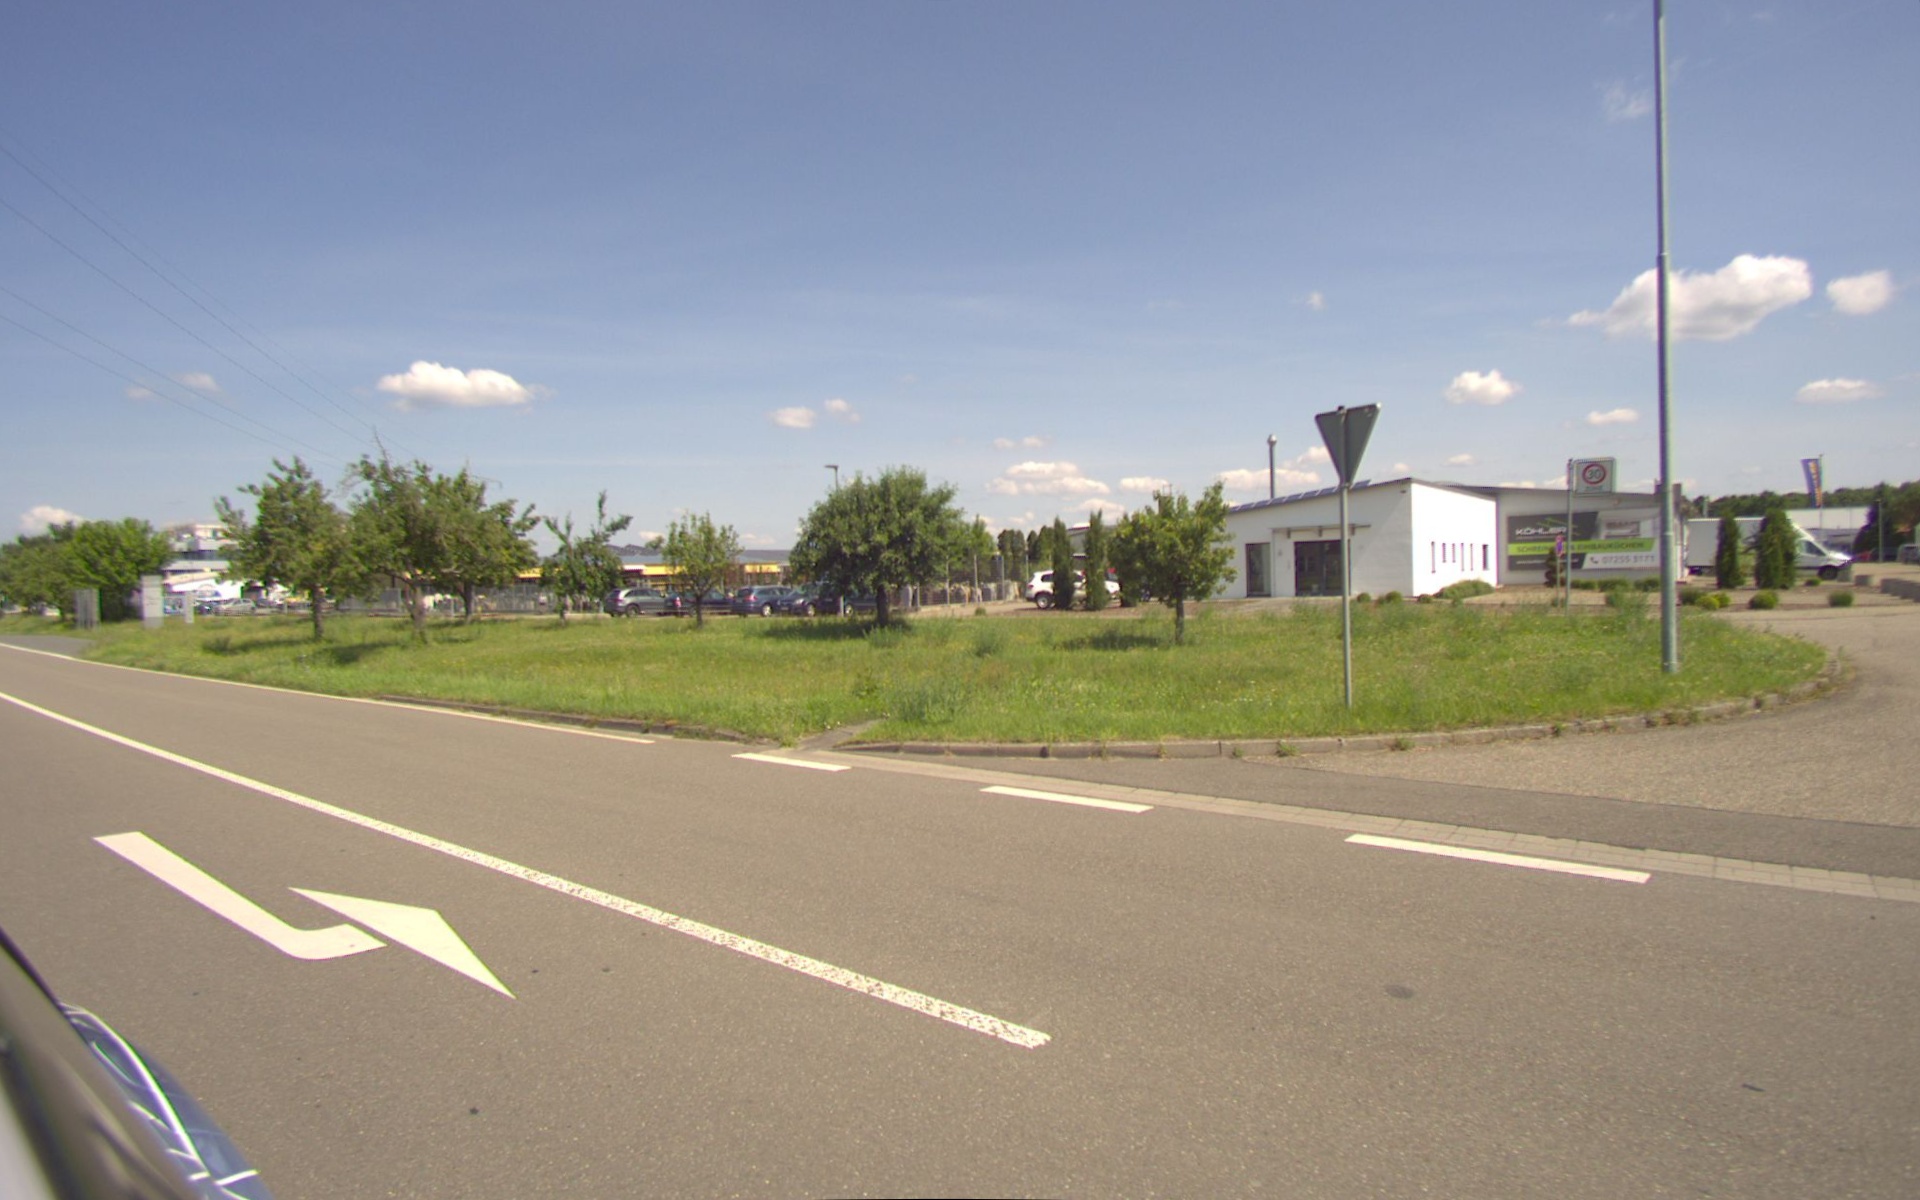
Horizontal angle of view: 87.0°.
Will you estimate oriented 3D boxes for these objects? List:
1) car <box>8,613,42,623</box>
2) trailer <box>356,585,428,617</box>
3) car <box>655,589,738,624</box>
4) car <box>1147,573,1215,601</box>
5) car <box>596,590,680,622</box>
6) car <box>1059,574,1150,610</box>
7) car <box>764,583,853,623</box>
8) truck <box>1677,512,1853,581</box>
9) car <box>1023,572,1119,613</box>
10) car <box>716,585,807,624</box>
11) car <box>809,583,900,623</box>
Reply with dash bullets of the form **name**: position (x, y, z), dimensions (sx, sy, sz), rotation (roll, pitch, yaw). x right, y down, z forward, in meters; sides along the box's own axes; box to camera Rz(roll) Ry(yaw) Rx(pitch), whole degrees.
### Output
- **car**: position (-152.142, 2.945, 164.669), dimensions (2.001, 1.530, 3.942), rotation (0, 2, 45)
- **trailer**: position (-56.121, 0.104, 100.134), dimensions (2.735, 2.846, 5.514), rotation (-1, 2, 35)
- **car**: position (-13.598, 0.322, 52.473), dimensions (1.663, 1.566, 3.951), rotation (-1, 2, 37)
- **car**: position (13.000, -0.785, 59.490), dimensions (2.001, 1.495, 4.110), rotation (-1, 2, 45)
- **car**: position (-17.745, 0.331, 55.854), dimensions (1.997, 1.539, 3.951), rotation (-1, 2, 37)
- **car**: position (6.828, -0.394, 48.018), dimensions (4.121, 1.540, 1.996), rotation (-2, 1, 8)
- **car**: position (-7.144, 0.122, 47.962), dimensions (1.855, 1.652, 3.951), rotation (-1, 2, 37)
- **truck**: position (42.575, -2.763, 53.810), dimensions (7.179, 3.237, 1.975), rotation (-1, 1, 37)
- **car**: position (4.983, -0.349, 45.286), dimensions (4.121, 1.652, 1.996), rotation (-2, 1, 8)
- **car**: position (-9.546, 0.188, 48.948), dimensions (1.997, 1.652, 3.951), rotation (-1, 2, 37)
- **car**: position (-4.838, 0.112, 46.809), dimensions (1.997, 1.652, 3.951), rotation (-1, 1, 37)
